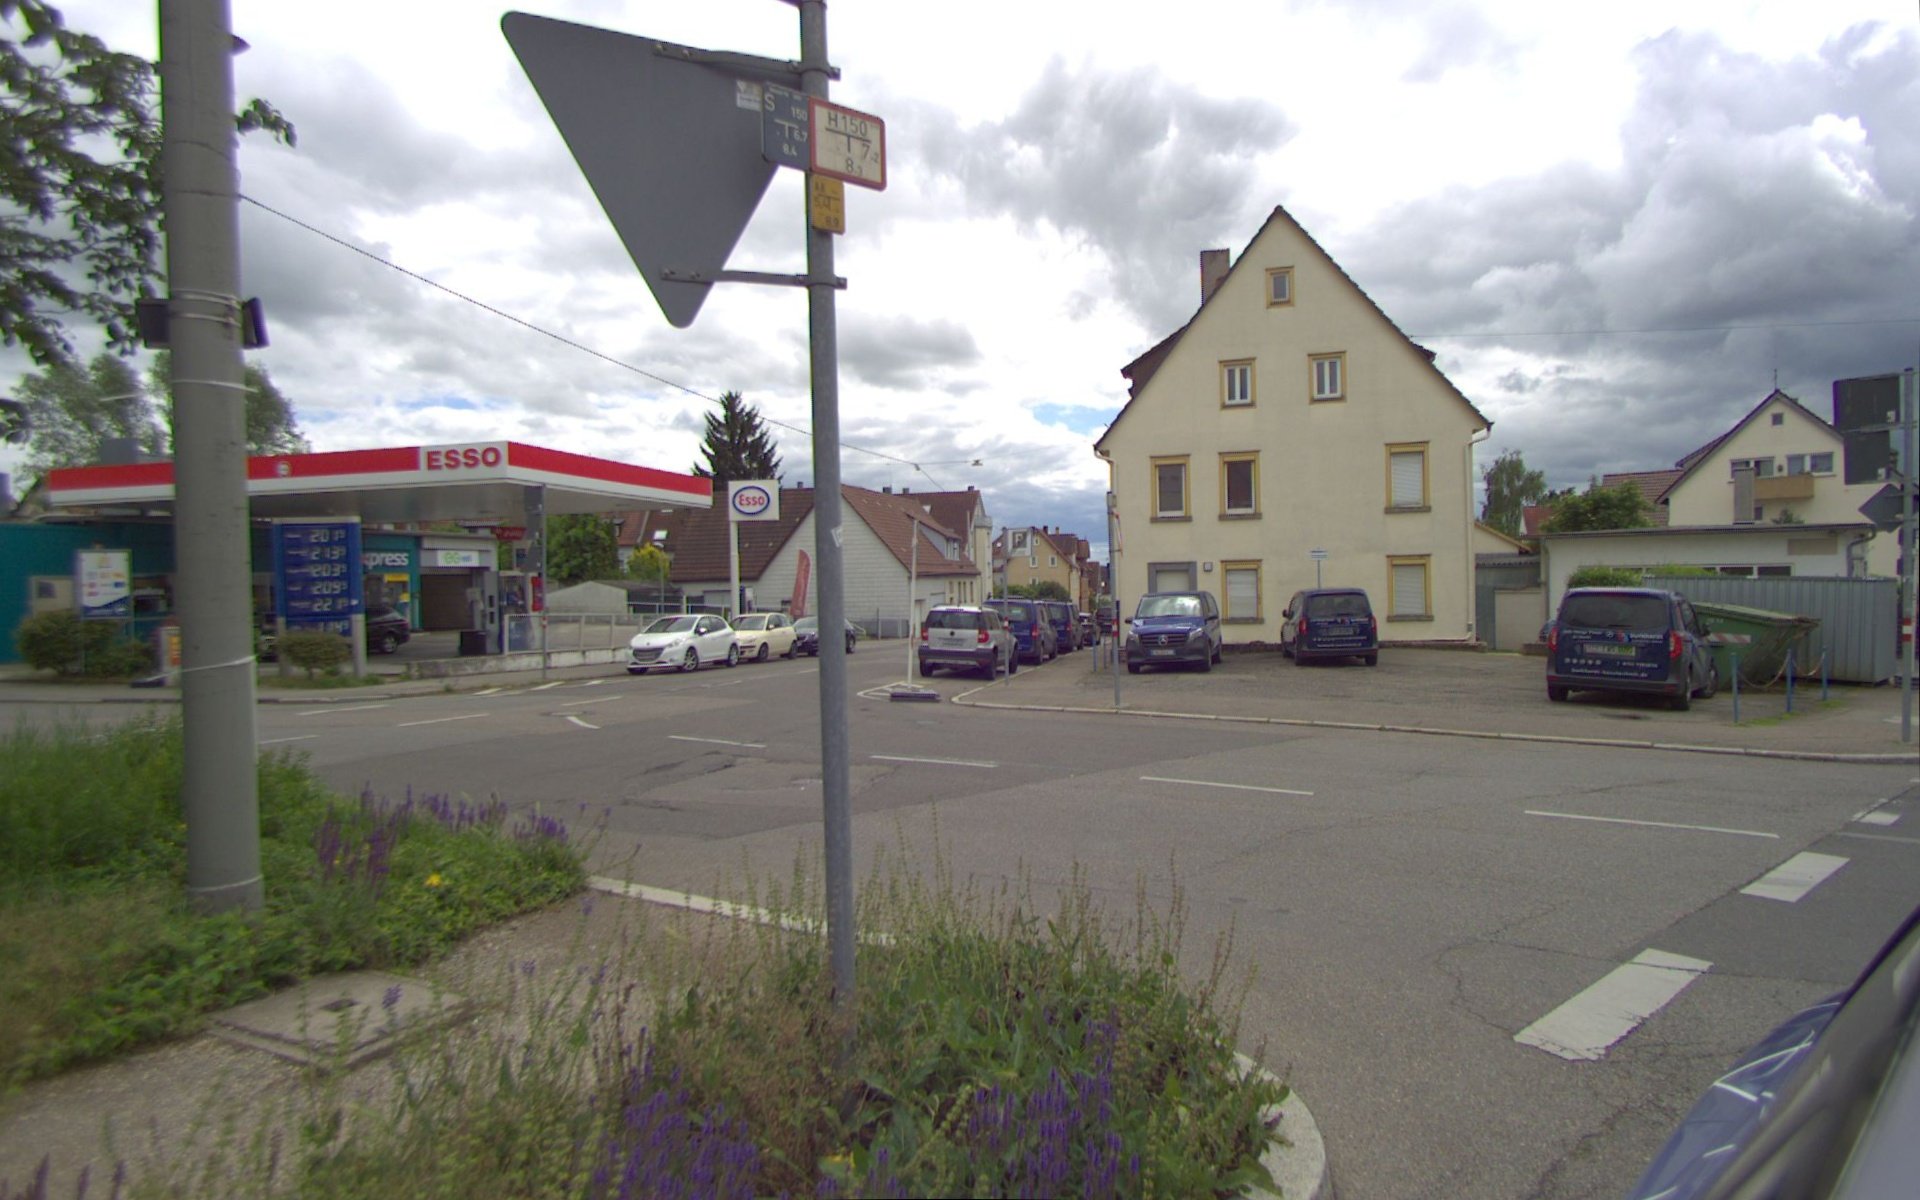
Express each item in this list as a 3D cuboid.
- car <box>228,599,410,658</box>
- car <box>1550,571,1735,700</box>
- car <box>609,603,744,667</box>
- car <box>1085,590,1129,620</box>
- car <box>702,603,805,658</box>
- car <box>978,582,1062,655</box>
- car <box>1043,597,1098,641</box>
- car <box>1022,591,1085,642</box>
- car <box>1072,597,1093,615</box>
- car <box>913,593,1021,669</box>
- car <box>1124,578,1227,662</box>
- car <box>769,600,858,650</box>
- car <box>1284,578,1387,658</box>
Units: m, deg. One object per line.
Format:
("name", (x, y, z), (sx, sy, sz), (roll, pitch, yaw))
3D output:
("car", (-18.751, 0.782, 29.864), (1.896, 1.480, 4.465), (0, 1, 14))
("car", (11.094, 0.497, 16.312), (1.746, 1.761, 4.500), (2, 1, 43))
("car", (-7.320, 0.885, 26.523), (1.749, 1.499, 3.813), (2, -1, 14))
("car", (9.118, 0.341, 62.527), (2.249, 1.753, 3.981), (-2, -2, 14))
("car", (-6.307, 0.880, 31.261), (1.604, 1.493, 3.751), (0, 1, 15))
("car", (1.875, 0.551, 30.271), (1.749, 1.968, 4.305), (2, -1, 13))
("car", (4.702, 0.798, 42.653), (1.697, 1.753, 3.981), (-2, -2, 14))
("car", (3.523, 0.637, 37.466), (1.697, 1.753, 3.981), (-2, -2, 14))
("car", (14.991, 0.762, 123.979), (1.971, 2.040, 3.980), (-2, -2, 15))
("car", (0.261, 0.733, 24.205), (1.748, 1.639, 3.983), (-2, -2, 13))
("car", (5.359, 0.495, 24.680), (1.878, 1.826, 4.862), (-2, -2, 19))
("car", (-5.082, 0.873, 35.544), (1.697, 1.616, 3.981), (-2, -2, 14))
("car", (8.977, 0.454, 24.485), (1.842, 1.750, 3.982), (-2, -2, 14))
